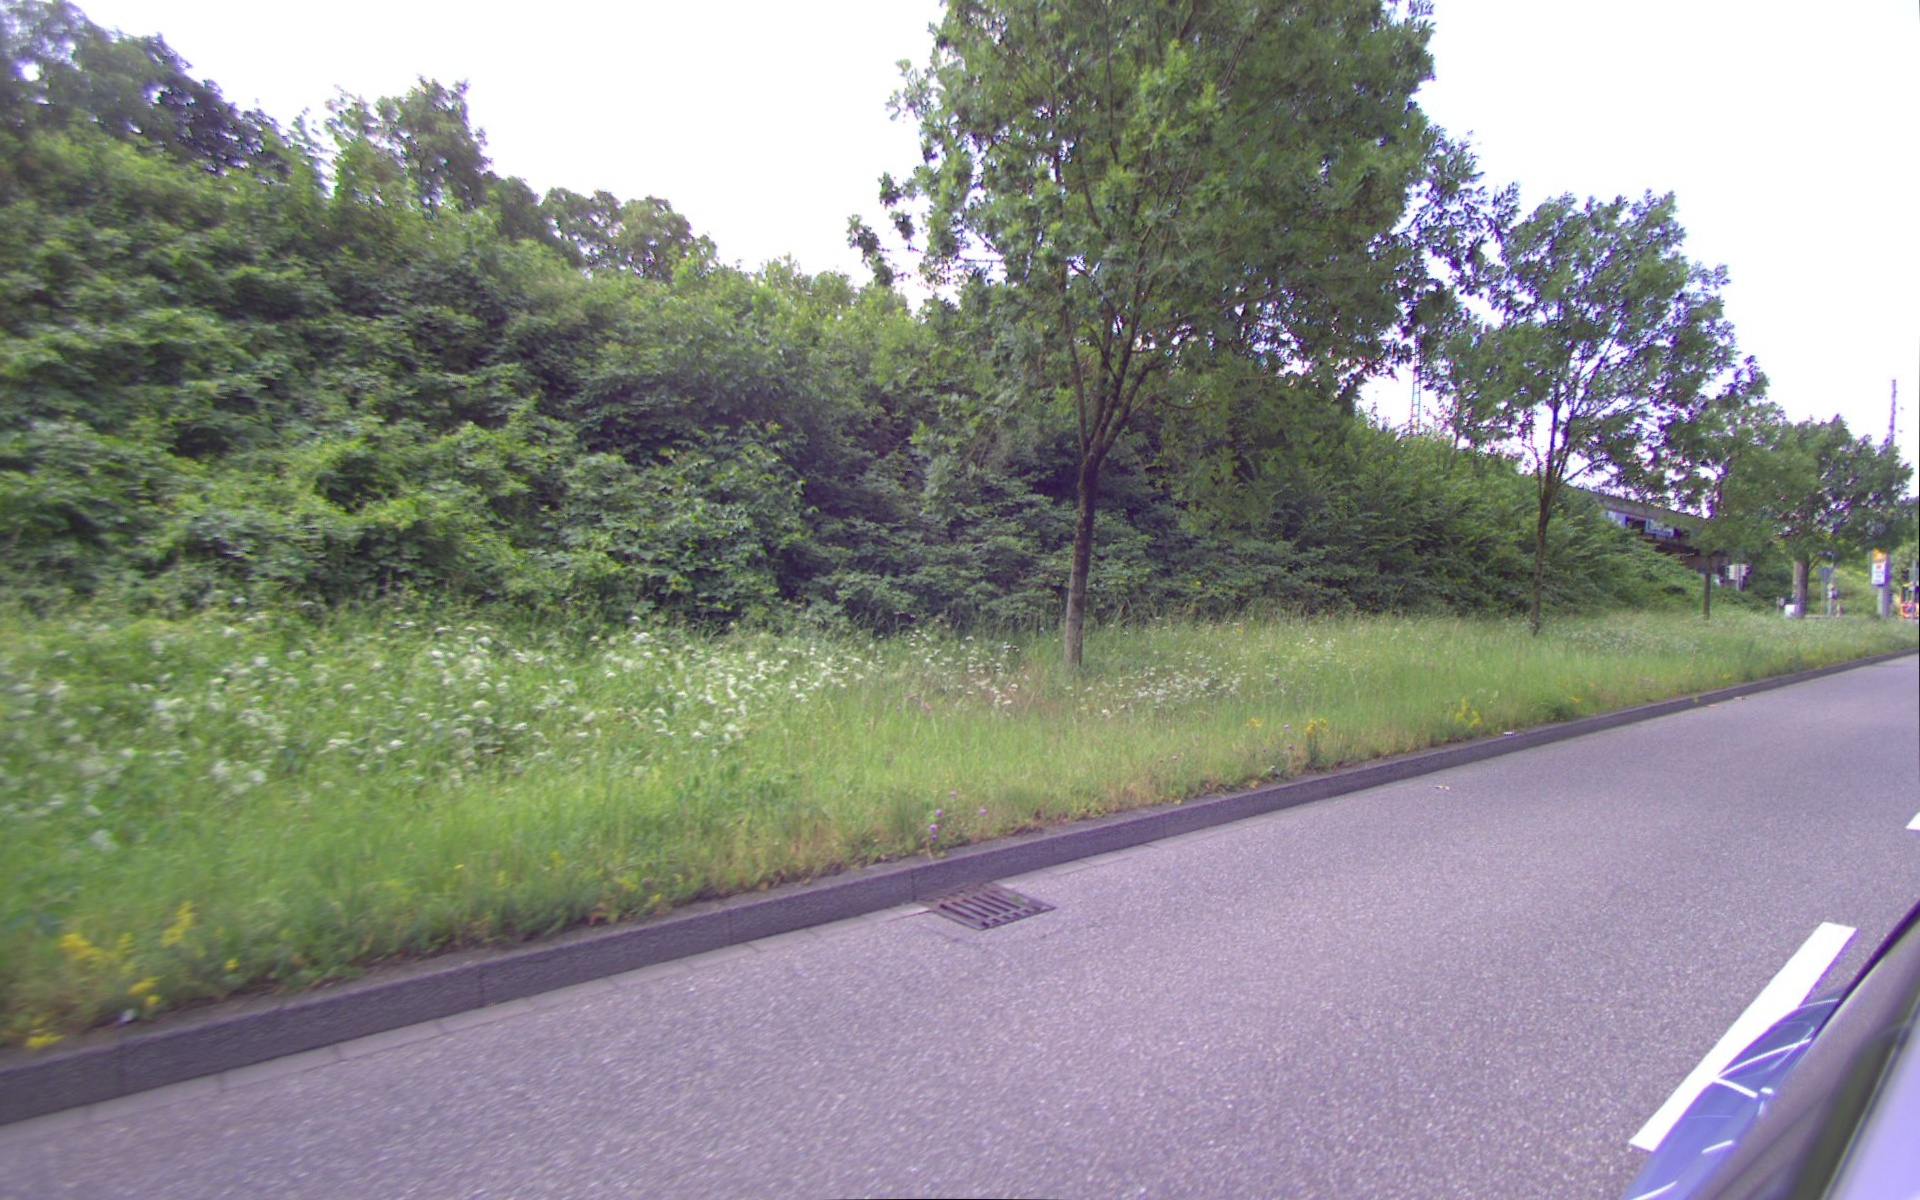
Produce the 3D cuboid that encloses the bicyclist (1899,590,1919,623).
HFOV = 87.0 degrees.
[{"bbox_3d":[51.314,0.342,54.475,0.814,1.698,0.840,0,4,22],"label":"bicyclist"}]

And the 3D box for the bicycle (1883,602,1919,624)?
[{"bbox_3d":[51.352,0.707,54.482,2.291,1.106,0.840,0,4,22],"label":"bicycle"}]

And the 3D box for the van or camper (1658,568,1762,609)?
[{"bbox_3d":[56.393,-0.868,76.214,5.876,2.818,2.158,-1,3,14],"label":"van or camper"}]
